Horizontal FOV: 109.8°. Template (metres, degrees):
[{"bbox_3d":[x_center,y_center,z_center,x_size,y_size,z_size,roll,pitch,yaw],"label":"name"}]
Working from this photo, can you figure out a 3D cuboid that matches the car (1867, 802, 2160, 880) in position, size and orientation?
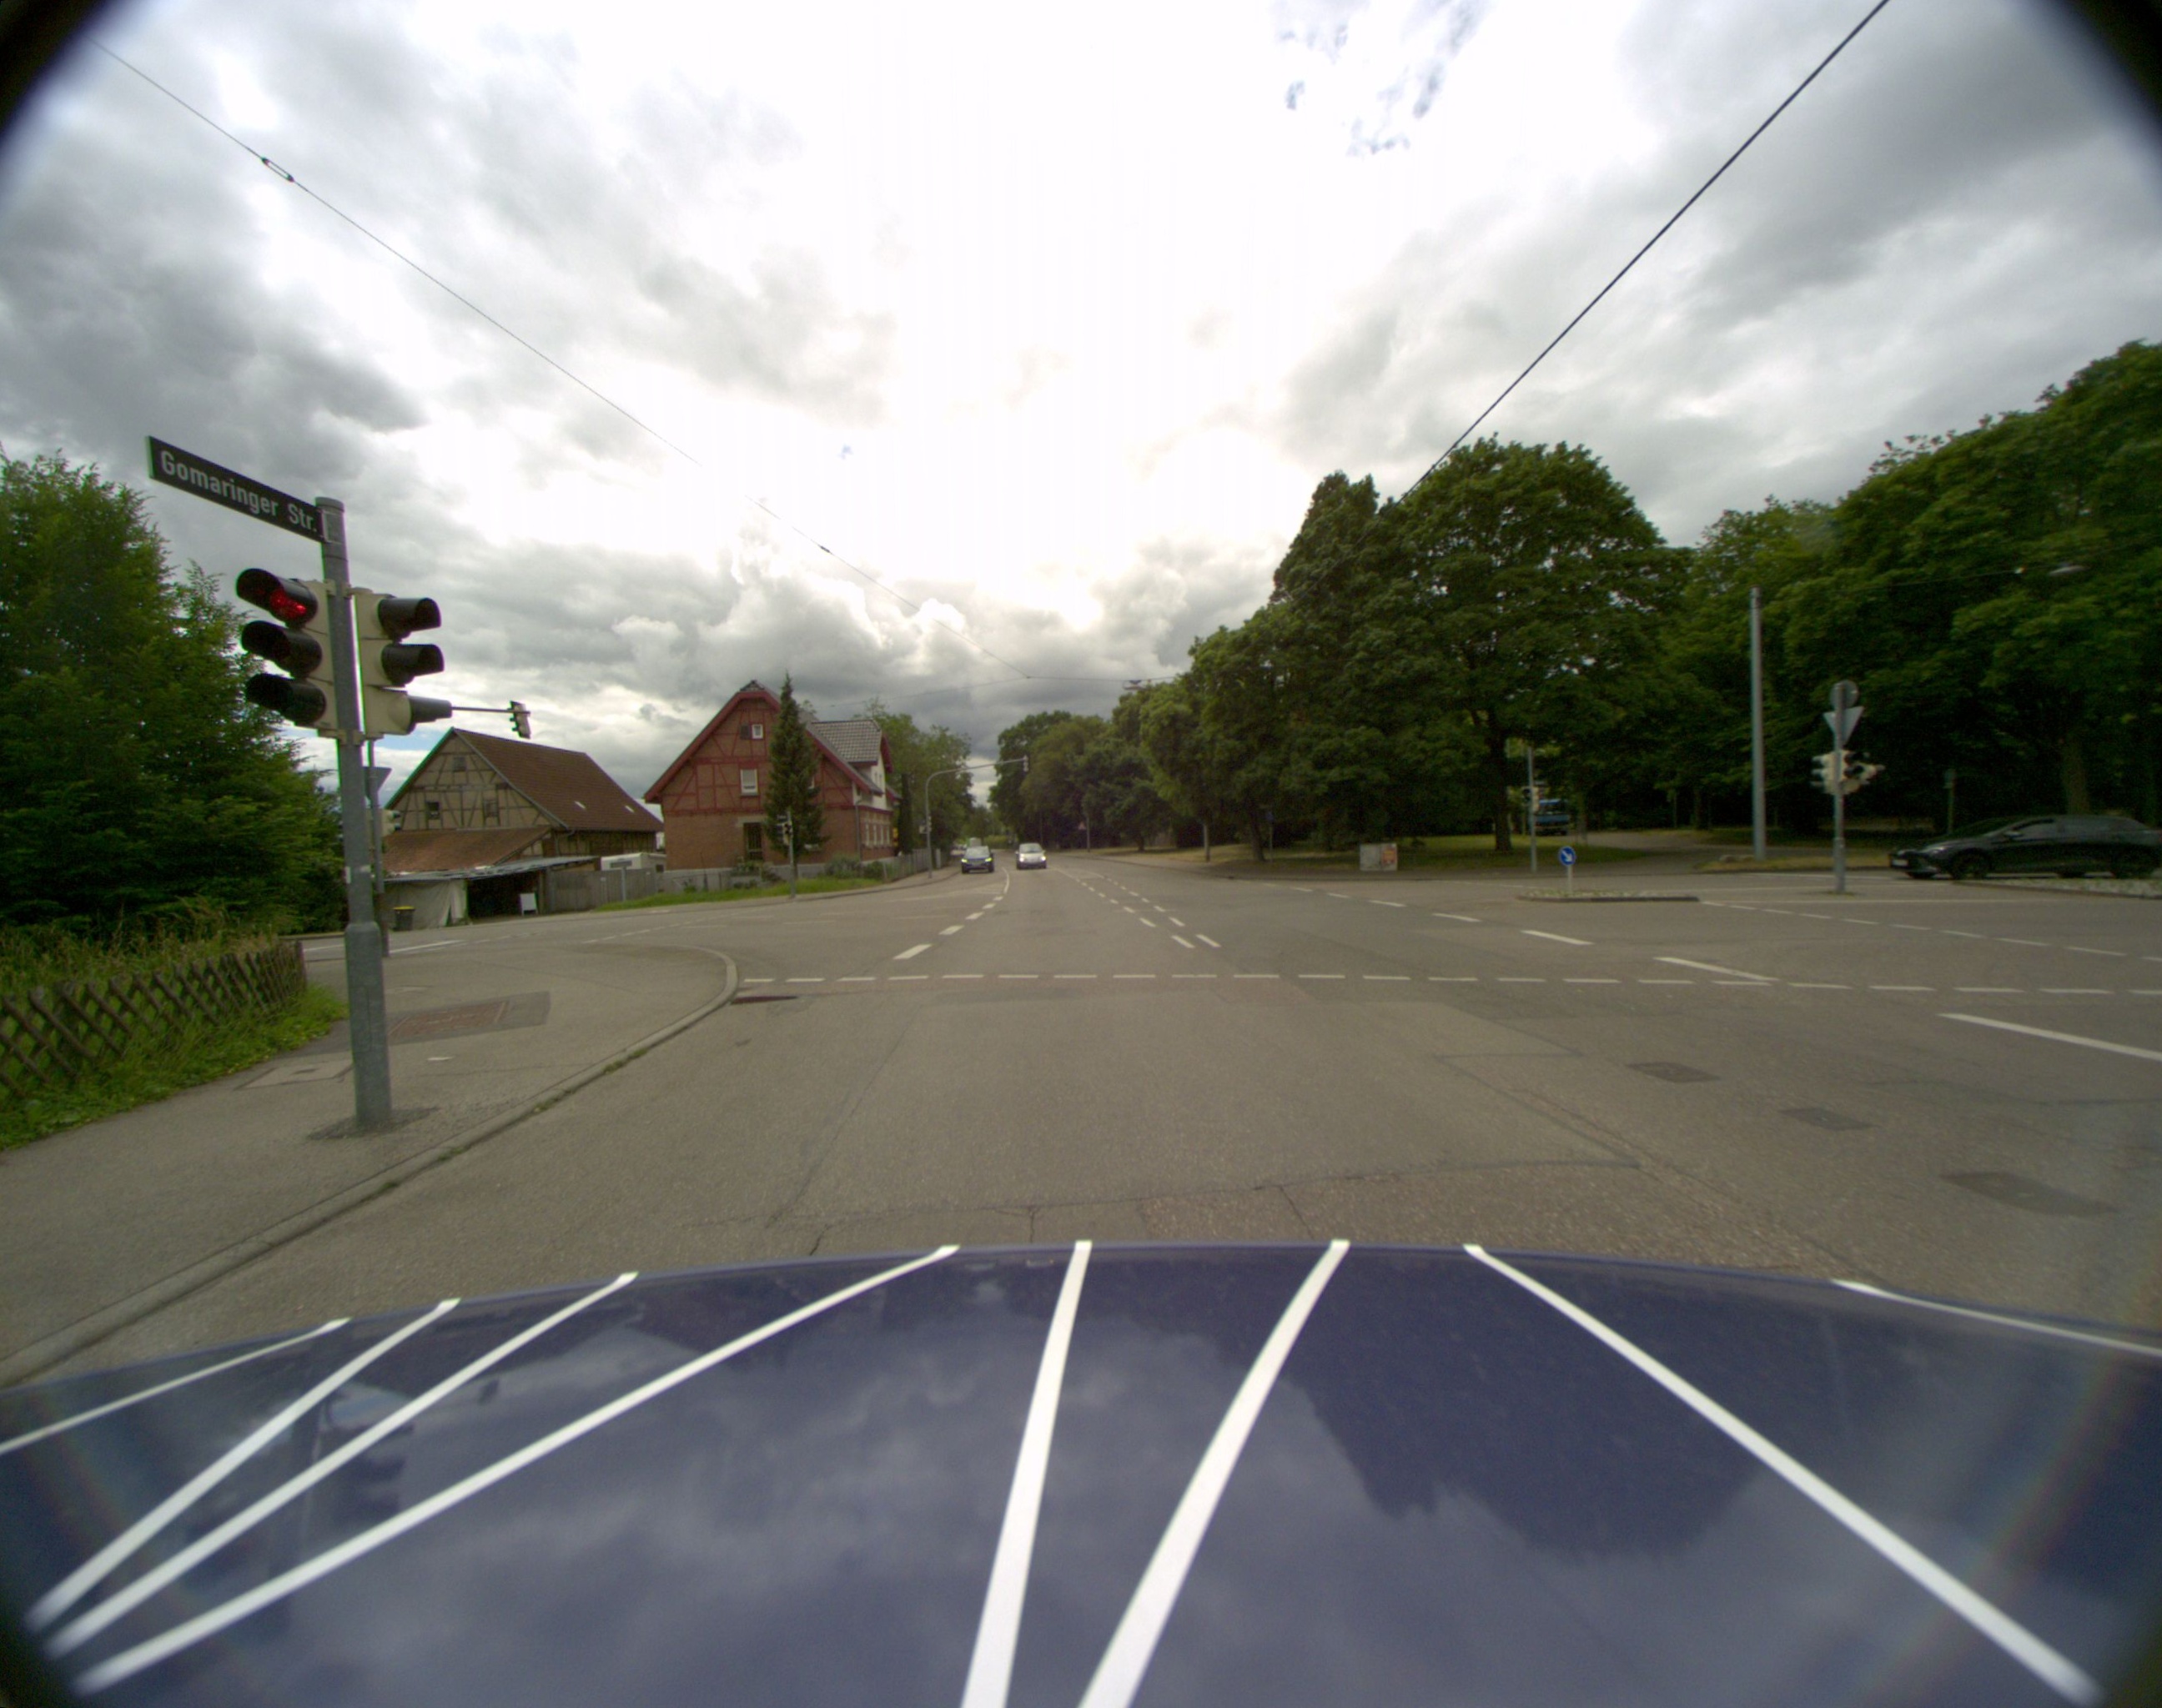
[{"bbox_3d":[22.086,-0.298,18.251,3.991,1.609,2.002,-2,2,20],"label":"car"}]

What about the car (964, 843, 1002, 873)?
[{"bbox_3d":[-5.766,0.209,44.991,1.927,1.510,3.997,-3,2,-4],"label":"car"}]

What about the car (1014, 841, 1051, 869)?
[{"bbox_3d":[-3.087,0.036,47.597,1.781,1.510,3.553,-4,2,-10],"label":"car"}]

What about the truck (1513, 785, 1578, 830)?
[{"bbox_3d":[32.649,-3.223,53.680,2.477,2.831,7.441,-2,2,20],"label":"truck"}]

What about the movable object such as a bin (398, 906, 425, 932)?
[{"bbox_3d":[-25.419,2.450,28.844,0.601,0.901,0.594,-1,3,37],"label":"movable object such as a bin"}]
